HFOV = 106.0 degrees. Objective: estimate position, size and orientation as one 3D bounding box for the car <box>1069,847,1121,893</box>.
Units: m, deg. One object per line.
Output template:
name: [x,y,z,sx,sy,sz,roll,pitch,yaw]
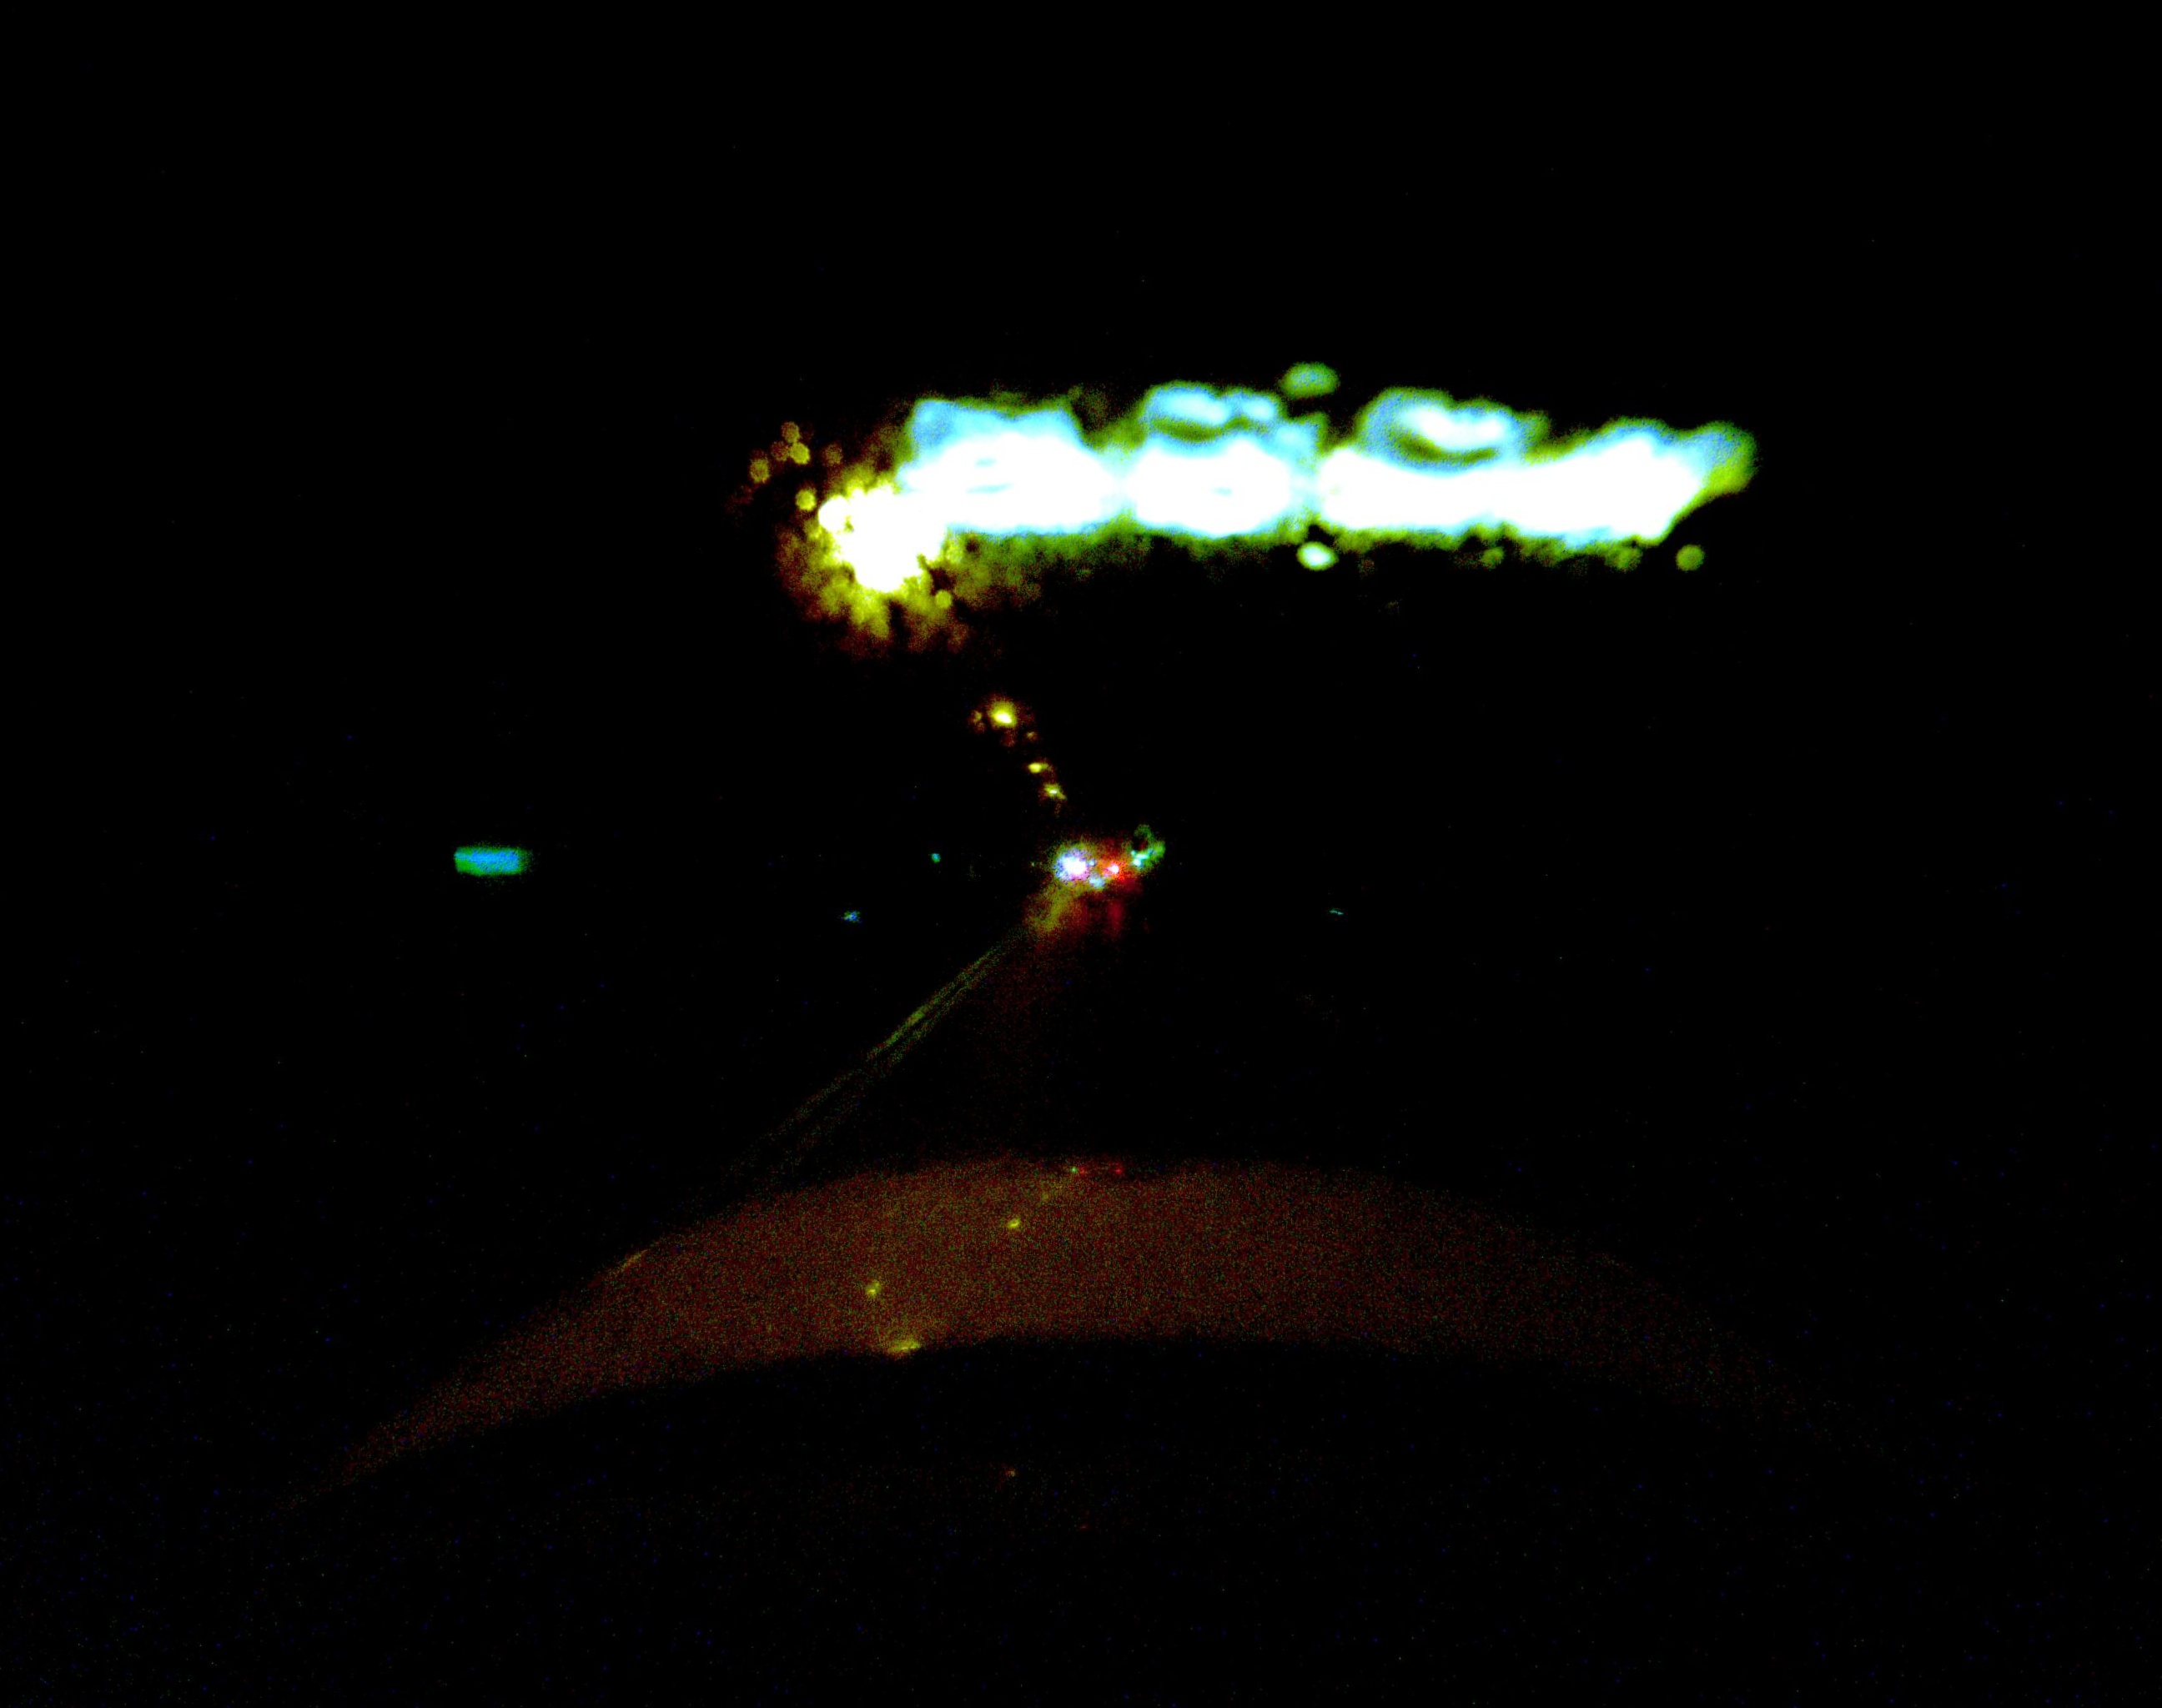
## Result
car: [0.563,0.573,30.667,1.802,1.622,4.001,-1,-1,2]
